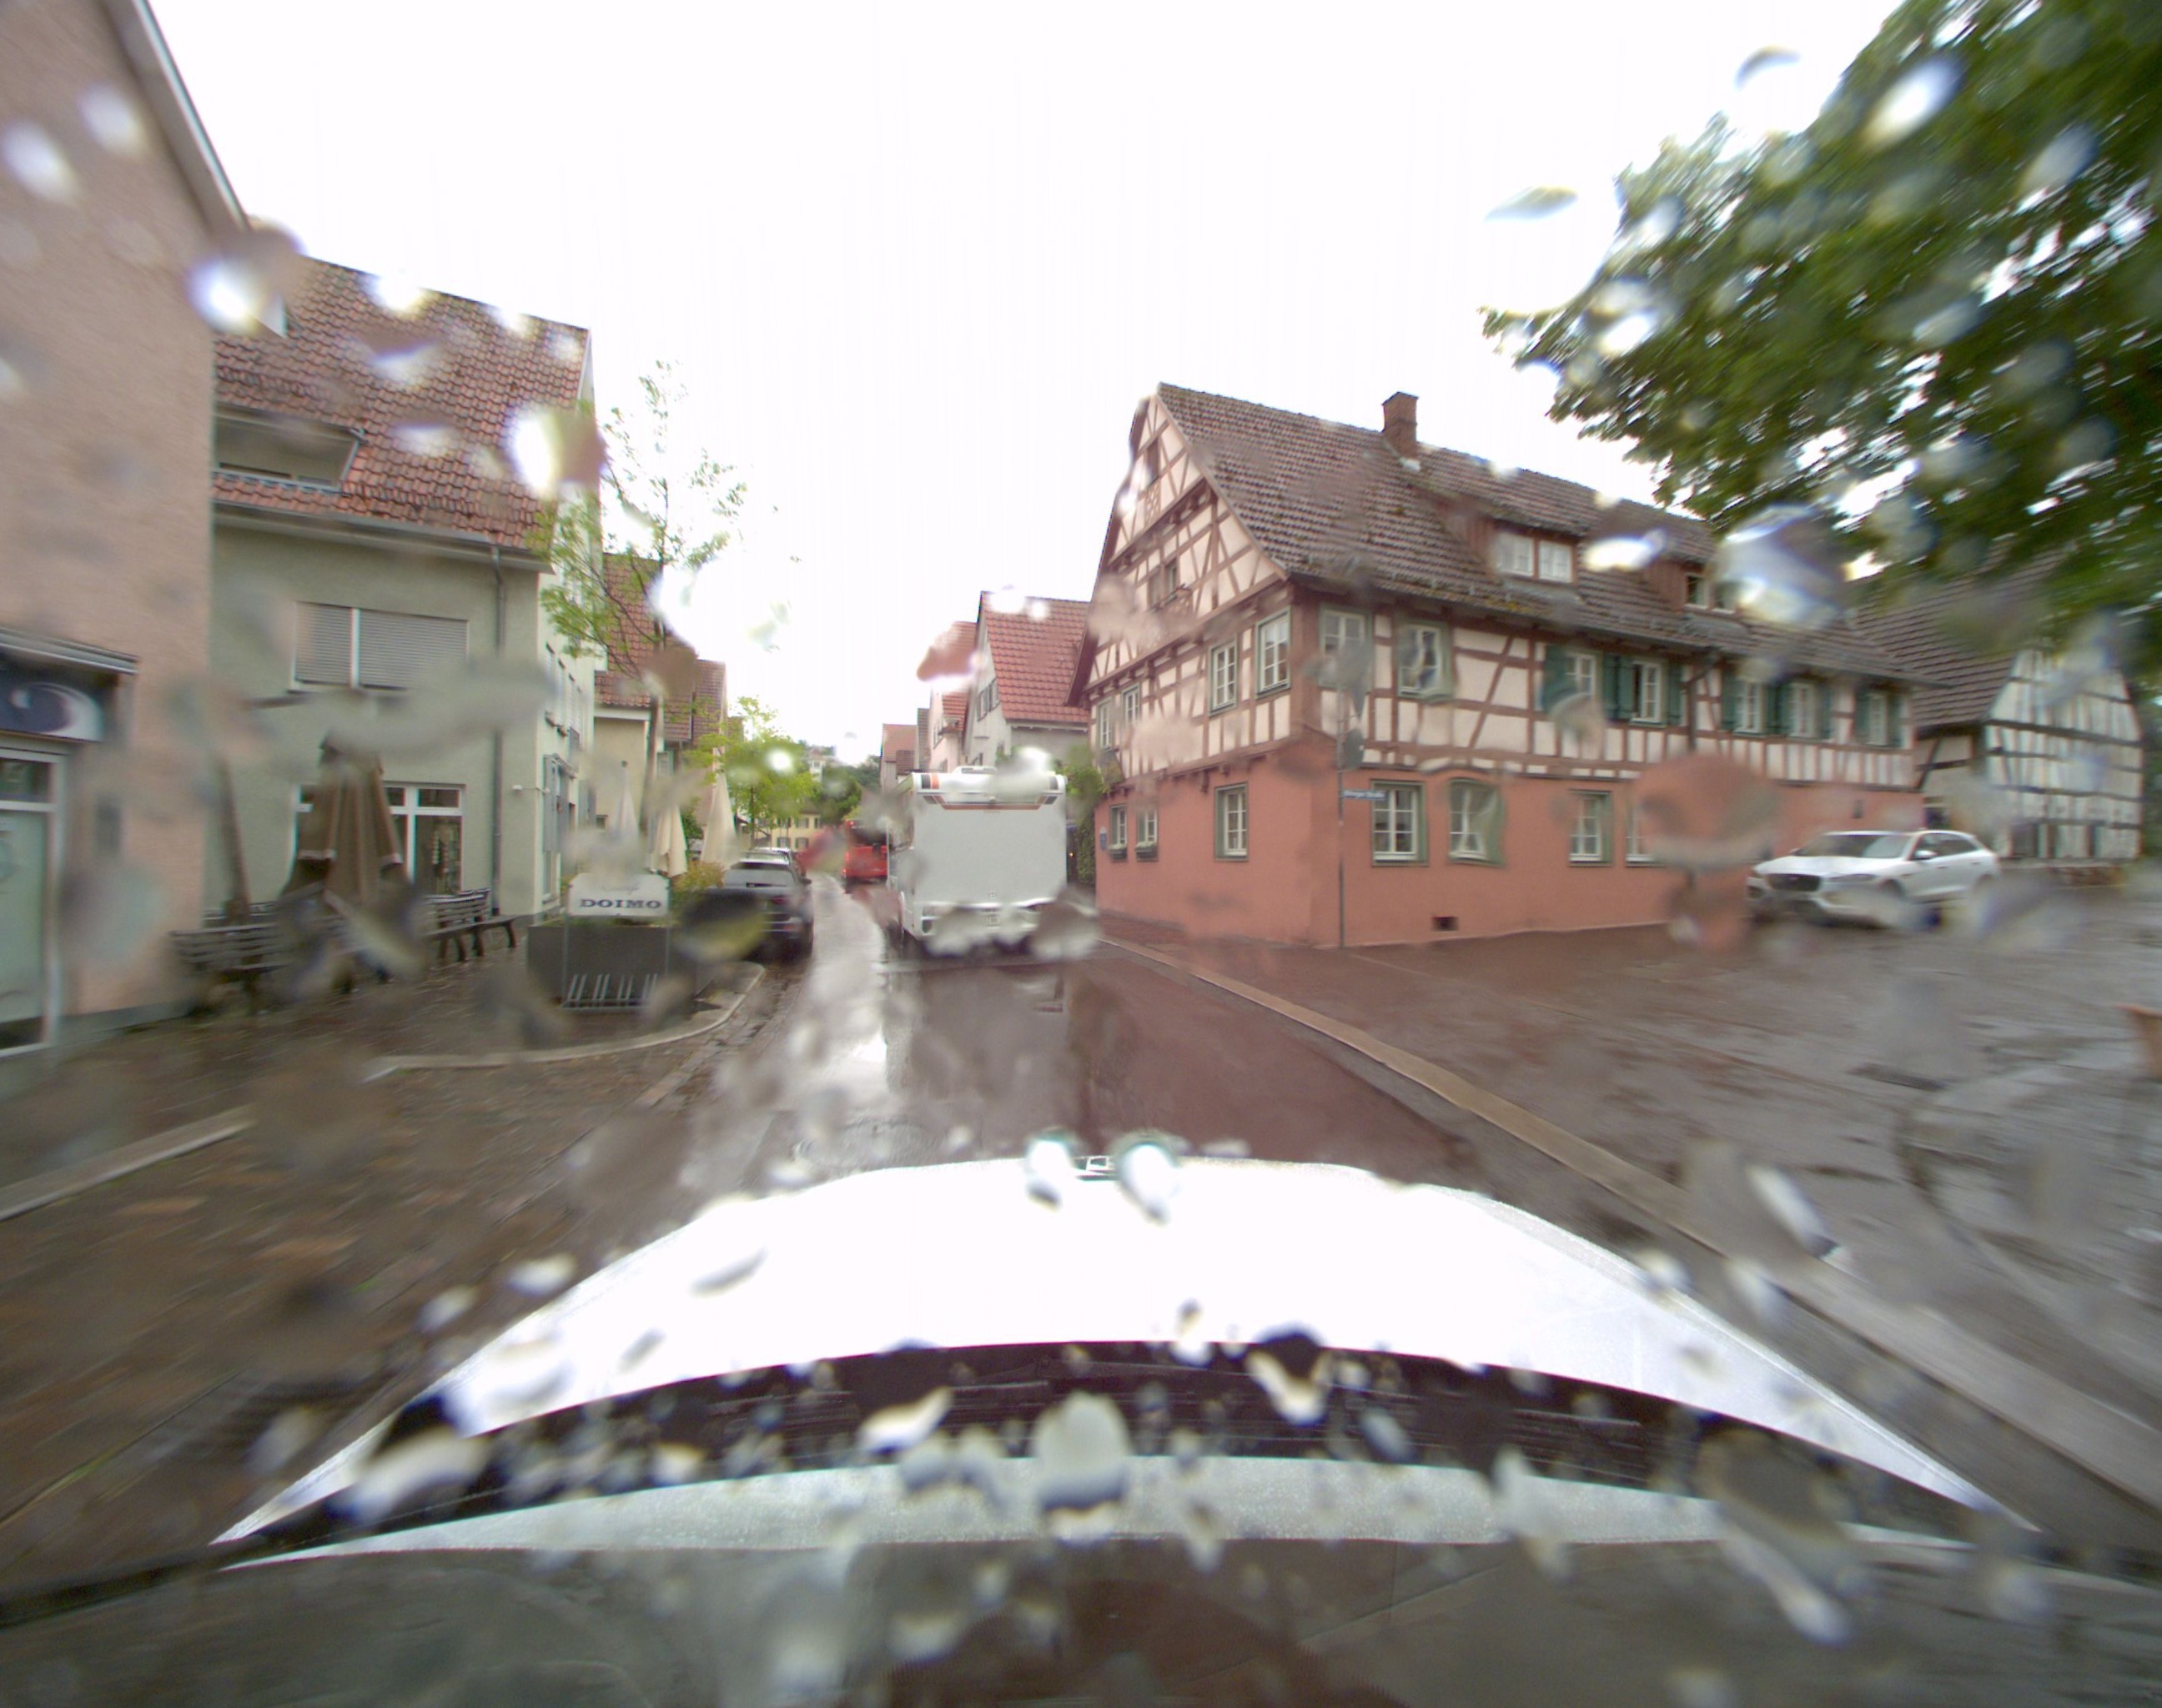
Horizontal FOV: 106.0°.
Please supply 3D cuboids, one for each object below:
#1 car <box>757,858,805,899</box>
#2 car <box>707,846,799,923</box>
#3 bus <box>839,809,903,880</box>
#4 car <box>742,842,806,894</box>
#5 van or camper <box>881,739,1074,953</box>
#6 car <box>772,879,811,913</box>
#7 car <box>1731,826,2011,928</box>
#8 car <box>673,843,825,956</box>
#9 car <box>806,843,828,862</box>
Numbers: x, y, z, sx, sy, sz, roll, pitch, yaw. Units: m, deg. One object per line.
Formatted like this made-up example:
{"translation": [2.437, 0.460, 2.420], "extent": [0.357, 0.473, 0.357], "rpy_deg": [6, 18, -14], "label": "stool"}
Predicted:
{"translation": [-13.164, 1.040, 35.878], "extent": [1.839, 1.675, 4.510], "rpy_deg": [0, -1, -19], "label": "car"}
{"translation": [-7.312, 0.640, 18.456], "extent": [1.597, 1.546, 3.953], "rpy_deg": [0, -1, -17], "label": "car"}
{"translation": [-10.569, -0.399, 40.618], "extent": [2.649, 3.227, 6.560], "rpy_deg": [0, -1, -19], "label": "bus"}
{"translation": [-10.854, 0.516, 29.037], "extent": [1.776, 1.675, 4.453], "rpy_deg": [1, -1, -17], "label": "car"}
{"translation": [-2.160, -0.063, 14.491], "extent": [2.332, 2.919, 6.355], "rpy_deg": [0, -1, -17], "label": "van or camper"}
{"translation": [-15.081, 2.140, 42.463], "extent": [1.839, 1.552, 4.253], "rpy_deg": [0, -1, -19], "label": "car"}
{"translation": [14.336, 0.330, 14.798], "extent": [4.468, 1.631, 1.932], "rpy_deg": [0, 2, -21], "label": "car"}
{"translation": [-5.252, 0.584, 12.896], "extent": [1.809, 1.432, 4.592], "rpy_deg": [2, 0, -23], "label": "car"}
{"translation": [-28.652, -0.167, 88.342], "extent": [2.002, 2.014, 3.969], "rpy_deg": [0, -1, -23], "label": "car"}
